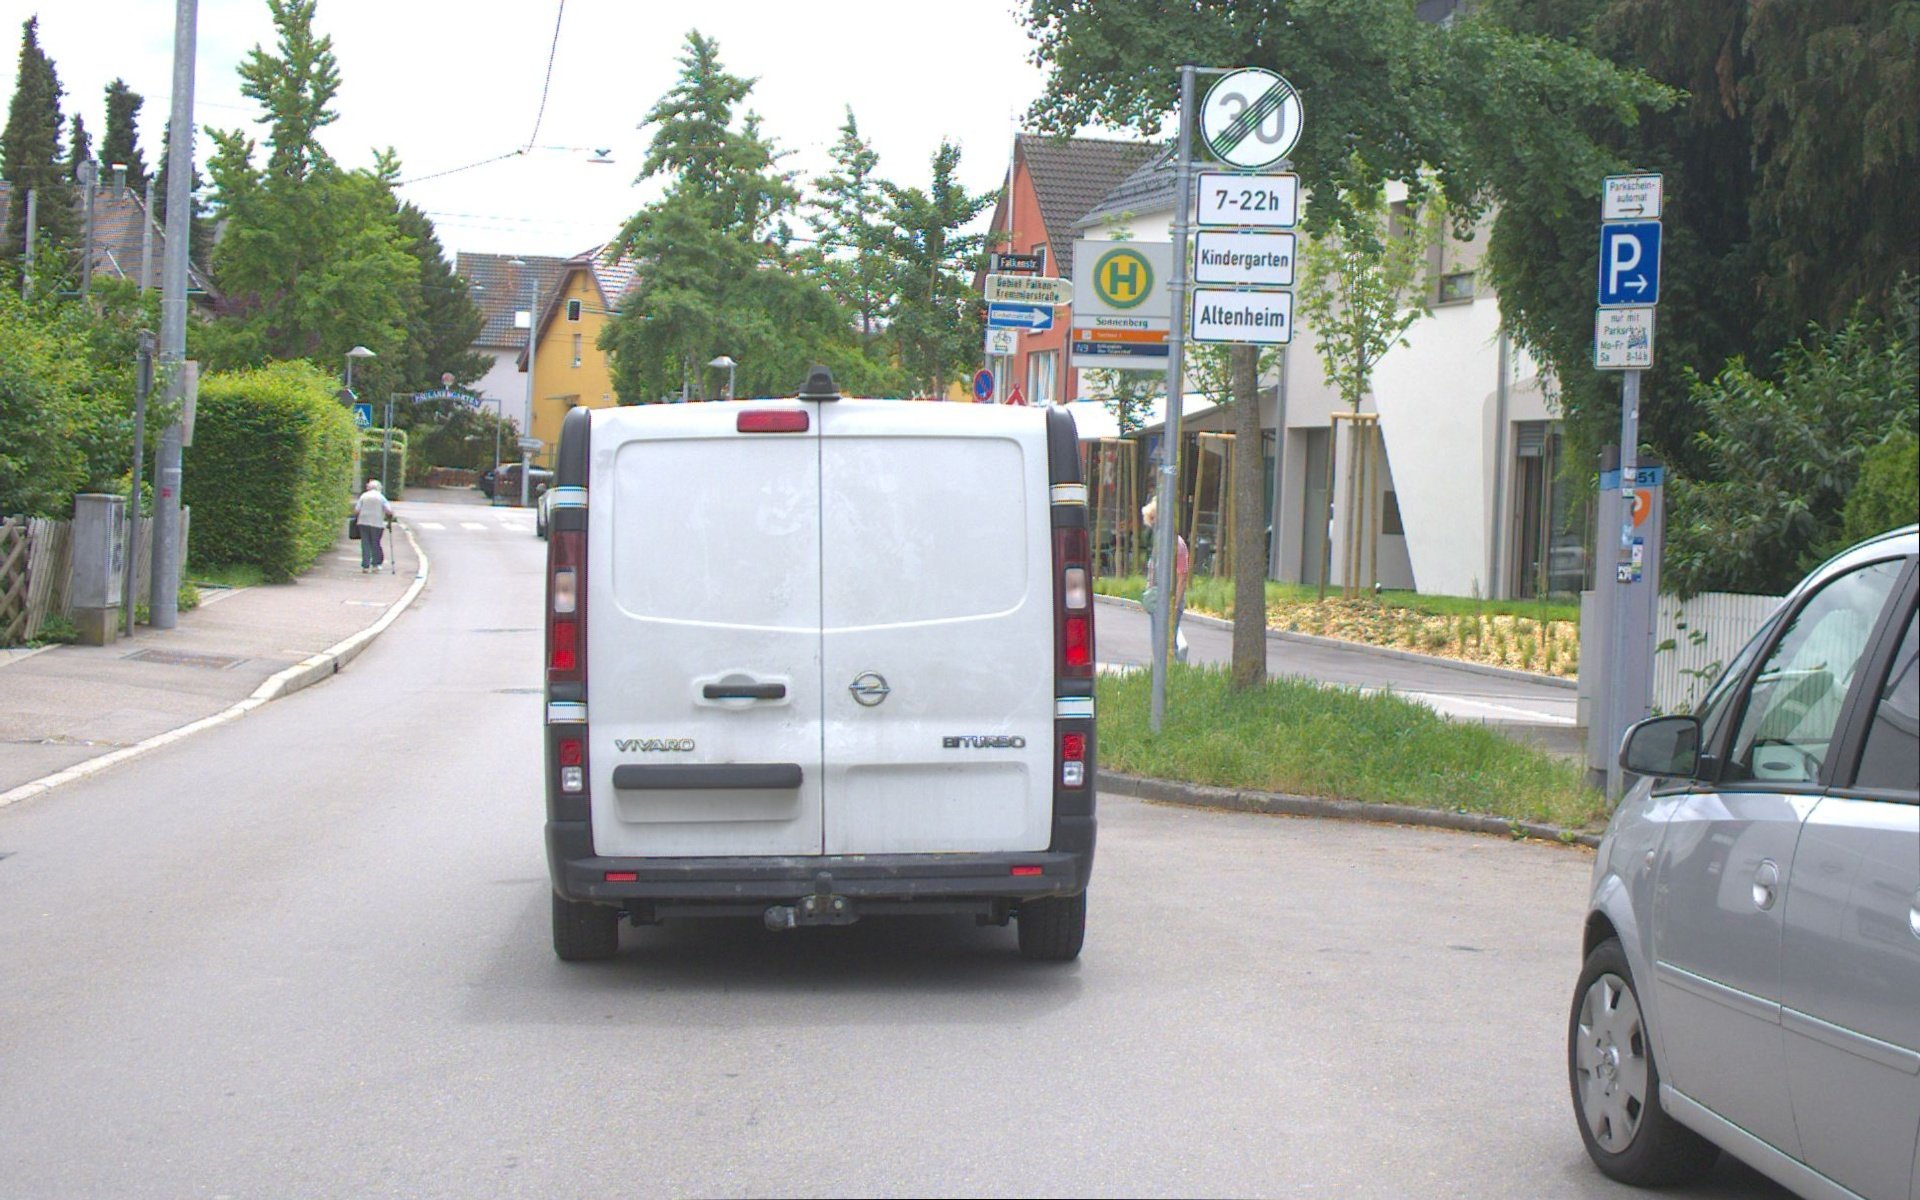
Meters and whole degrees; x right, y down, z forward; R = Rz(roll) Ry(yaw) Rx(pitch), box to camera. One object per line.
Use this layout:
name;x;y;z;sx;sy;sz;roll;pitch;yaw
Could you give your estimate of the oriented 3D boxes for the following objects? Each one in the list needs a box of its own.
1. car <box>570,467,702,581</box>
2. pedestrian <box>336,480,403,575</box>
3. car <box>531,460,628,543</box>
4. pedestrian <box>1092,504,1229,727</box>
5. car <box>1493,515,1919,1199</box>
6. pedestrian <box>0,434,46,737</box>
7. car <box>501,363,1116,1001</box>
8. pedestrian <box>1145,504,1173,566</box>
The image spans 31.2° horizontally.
car;-5.588;-1.311;58.891;1.993;1.842;4.001;1;1;-8
pedestrian;-9.587;-1.172;55.824;0.876;1.480;0.455;4;1;-28
car;-8.523;-2.196;76.783;1.993;1.776;4.001;1;1;-8
pedestrian;1.545;0.108;26.633;0.854;1.639;0.884;4;1;-2
car;2.382;0.633;6.845;1.759;1.577;4.019;1;1;-4
pedestrian;-6.479;-0.114;22.141;0.733;1.939;1.217;4;1;0
car;-0.673;0.228;13.188;1.915;1.996;4.439;1;1;-5
pedestrian;3.858;-1.267;66.646;0.421;1.178;0.324;2;1;-10
